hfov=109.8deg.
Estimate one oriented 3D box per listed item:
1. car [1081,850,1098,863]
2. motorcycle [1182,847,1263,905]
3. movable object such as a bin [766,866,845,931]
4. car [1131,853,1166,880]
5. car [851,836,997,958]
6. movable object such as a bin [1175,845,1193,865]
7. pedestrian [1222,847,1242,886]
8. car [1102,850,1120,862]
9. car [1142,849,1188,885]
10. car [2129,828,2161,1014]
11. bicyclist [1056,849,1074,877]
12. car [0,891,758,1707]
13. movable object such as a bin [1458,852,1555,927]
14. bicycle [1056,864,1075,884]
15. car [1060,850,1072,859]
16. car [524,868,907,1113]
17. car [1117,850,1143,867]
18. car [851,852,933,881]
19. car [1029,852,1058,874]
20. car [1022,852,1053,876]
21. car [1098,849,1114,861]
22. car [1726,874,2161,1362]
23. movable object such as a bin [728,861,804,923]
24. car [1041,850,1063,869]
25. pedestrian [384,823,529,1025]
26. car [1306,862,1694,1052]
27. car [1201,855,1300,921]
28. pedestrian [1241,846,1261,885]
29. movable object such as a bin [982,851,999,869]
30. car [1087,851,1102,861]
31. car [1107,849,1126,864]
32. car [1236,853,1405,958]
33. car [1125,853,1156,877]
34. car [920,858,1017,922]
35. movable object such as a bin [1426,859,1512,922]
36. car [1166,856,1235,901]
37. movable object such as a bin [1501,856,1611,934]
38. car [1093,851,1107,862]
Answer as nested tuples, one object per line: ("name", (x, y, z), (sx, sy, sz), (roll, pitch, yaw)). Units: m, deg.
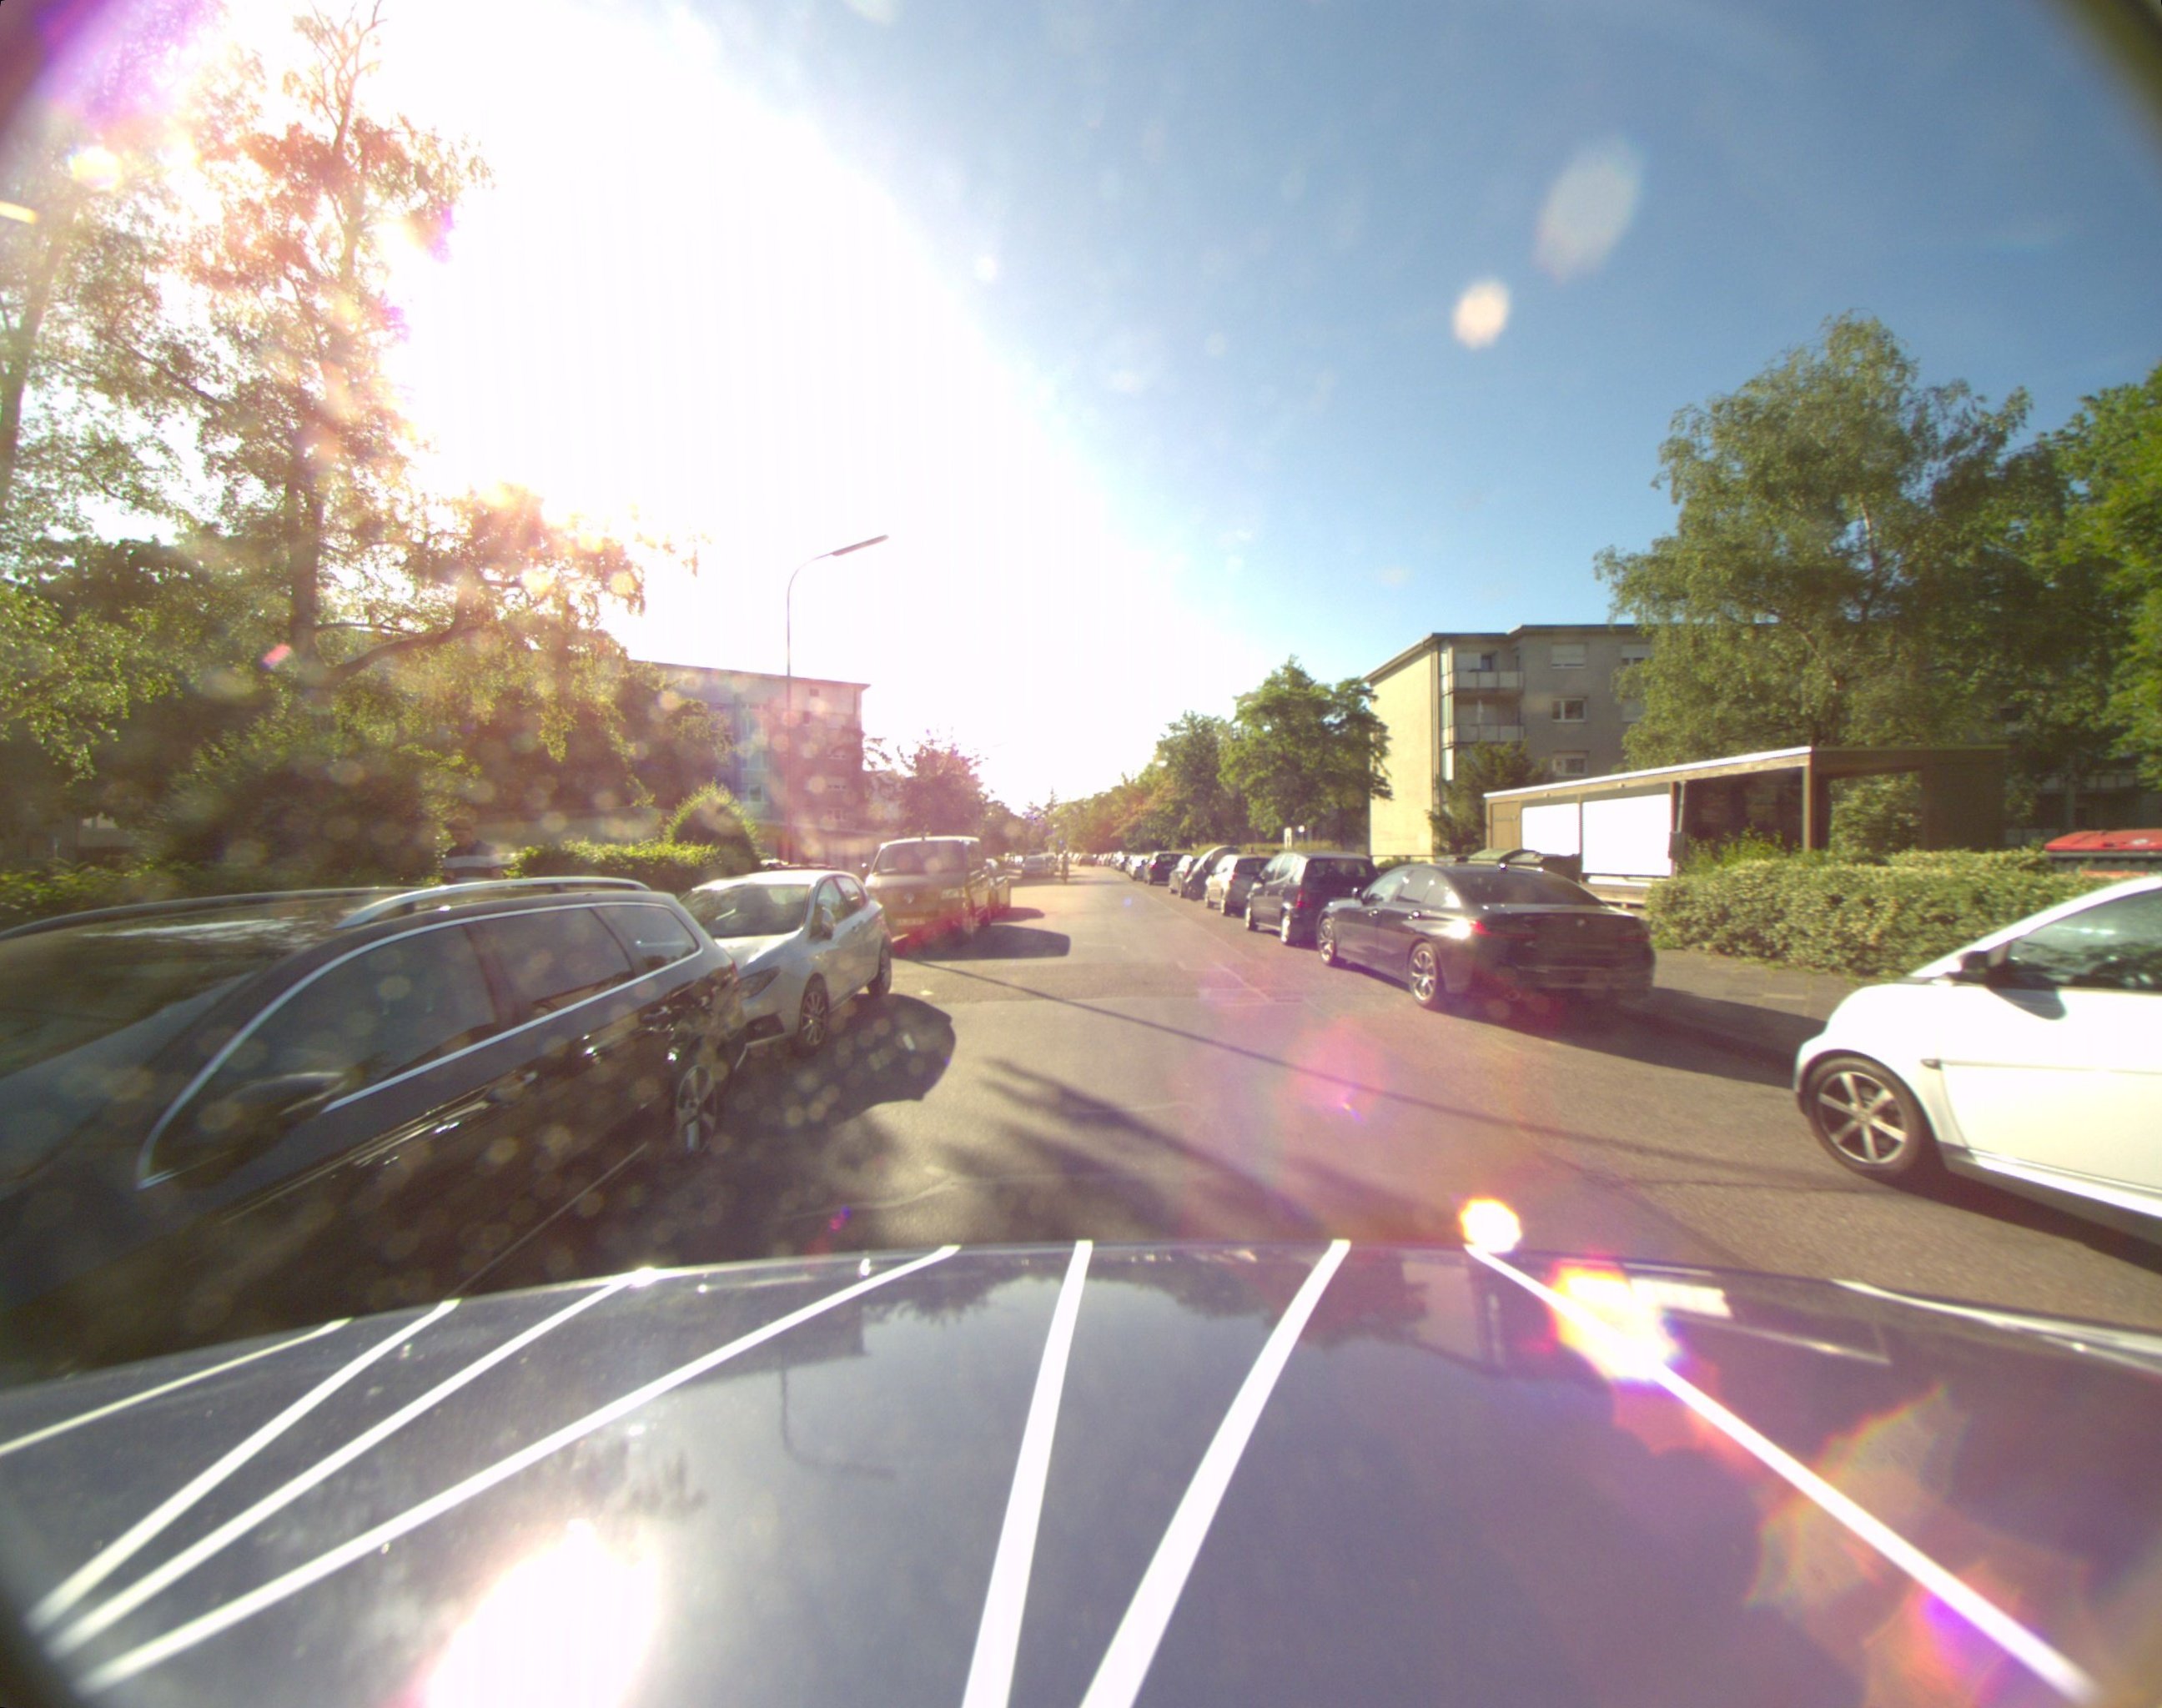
("car", (0.945, 0.284, 87.578), (1.915, 1.468, 4.570), (0, 0, 0))
("motorcycle", (4.393, 0.682, 23.678), (2.262, 1.717, 0.932), (2, 1, -3))
("movable object such as a bin", (-6.038, 0.949, 16.724), (1.028, 1.302, 1.388), (2, 1, 10))
("car", (3.857, 0.696, 44.021), (1.758, 1.417, 4.210), (1, 1, 2))
("car", (-2.825, 0.692, 14.813), (1.857, 1.923, 4.704), (-2, 1, -1))
("movable object such as a bin", (7.618, 0.067, 56.132), (1.004, 1.407, 1.326), (-4, 1, -2))
("pedestrian", (6.581, 0.540, 33.044), (0.722, 1.669, 0.616), (-1, 1, 0))
("car", (3.729, 0.281, 94.896), (1.811, 1.470, 3.939), (0, 0, -3))
("car", (4.076, 0.577, 37.444), (1.759, 1.626, 4.370), (1, 0, 0))
("car", (9.636, 0.536, 4.393), (1.574, 1.516, 3.999), (-2, 1, -2))
("bicyclist", (-0.800, 0.428, 38.141), (0.812, 1.348, 1.091), (-1, 1, 1))
("car", (-2.700, 1.012, 2.141), (1.736, 1.481, 4.499), (-3, 1, -2))
("movable object such as a bin", (8.512, 0.684, 15.268), (1.180, 1.400, 1.343), (-1, 1, 1))
("bicycle", (-0.778, 1.002, 38.361), (0.824, 0.896, 2.203), (-1, 0, 1))
("car", (-2.840, 0.102, 142.238), (1.659, 1.558, 3.686), (0, 0, -11))
("car", (-2.914, 0.958, 7.134), (1.627, 1.481, 4.035), (-2, 1, -1))
("car", (4.162, 0.347, 65.117), (1.759, 1.377, 4.673), (0, 1, -1))
("car", (-10.611, 0.705, 42.955), (4.194, 1.486, 1.817), (-1, 1, -3))
("car", (-2.739, 0.635, 56.319), (1.835, 1.537, 4.640), (-1, 0, 1))
("car", (-2.885, 0.646, 50.991), (1.809, 1.486, 3.795), (-1, 0, 1))
("car", (3.287, 0.141, 100.085), (1.636, 1.470, 3.877), (0, 0, -5))
("car", (4.340, 0.921, 2.701), (1.448, 1.565, 3.142), (1, 1, 2))
("movable object such as a bin", (-7.338, 0.868, 17.759), (1.226, 1.357, 1.133), (-1, 1, 3))
("car", (-2.574, 0.461, 68.641), (1.758, 1.617, 4.495), (-1, 0, 1))
("pedestrian", (-6.165, 0.656, 7.551), (0.705, 1.877, 0.872), (1, 1, 1))
("car", (4.144, 0.882, 8.564), (1.759, 1.472, 4.536), (1, 0, -1))
("car", (4.253, 0.790, 19.656), (1.758, 1.472, 3.959), (1, 0, 1))
("pedestrian", (7.382, 0.510, 33.037), (0.722, 1.669, 0.600), (-1, 1, 0))
("movable object such as a bin", (-7.435, 0.517, 62.453), (1.328, 1.419, 1.069), (1, 0, -6))
("car", (2.042, 0.289, 112.238), (1.659, 1.470, 3.733), (0, 0, -7))
("car", (4.074, 0.264, 88.107), (1.811, 1.596, 4.431), (0, 0, -2))
("car", (4.106, 0.801, 13.681), (1.759, 1.565, 3.719), (1, 0, -2))
("car", (3.884, 0.701, 50.275), (1.758, 1.481, 4.901), (2, 0, 2))
("car", (-2.915, 0.885, 20.736), (1.805, 1.410, 4.636), (-2, 1, 1))
("movable object such as a bin", (8.448, 0.762, 16.631), (1.180, 1.280, 1.343), (-1, 1, 1))
("car", (4.134, 0.807, 26.948), (1.759, 1.412, 4.268), (1, 0, 0))
("movable object such as a bin", (8.633, 0.716, 13.892), (1.180, 1.332, 1.343), (-1, 1, 1))
("car", (2.689, 0.314, 107.221), (1.658, 1.470, 3.104), (0, 0, -5))
